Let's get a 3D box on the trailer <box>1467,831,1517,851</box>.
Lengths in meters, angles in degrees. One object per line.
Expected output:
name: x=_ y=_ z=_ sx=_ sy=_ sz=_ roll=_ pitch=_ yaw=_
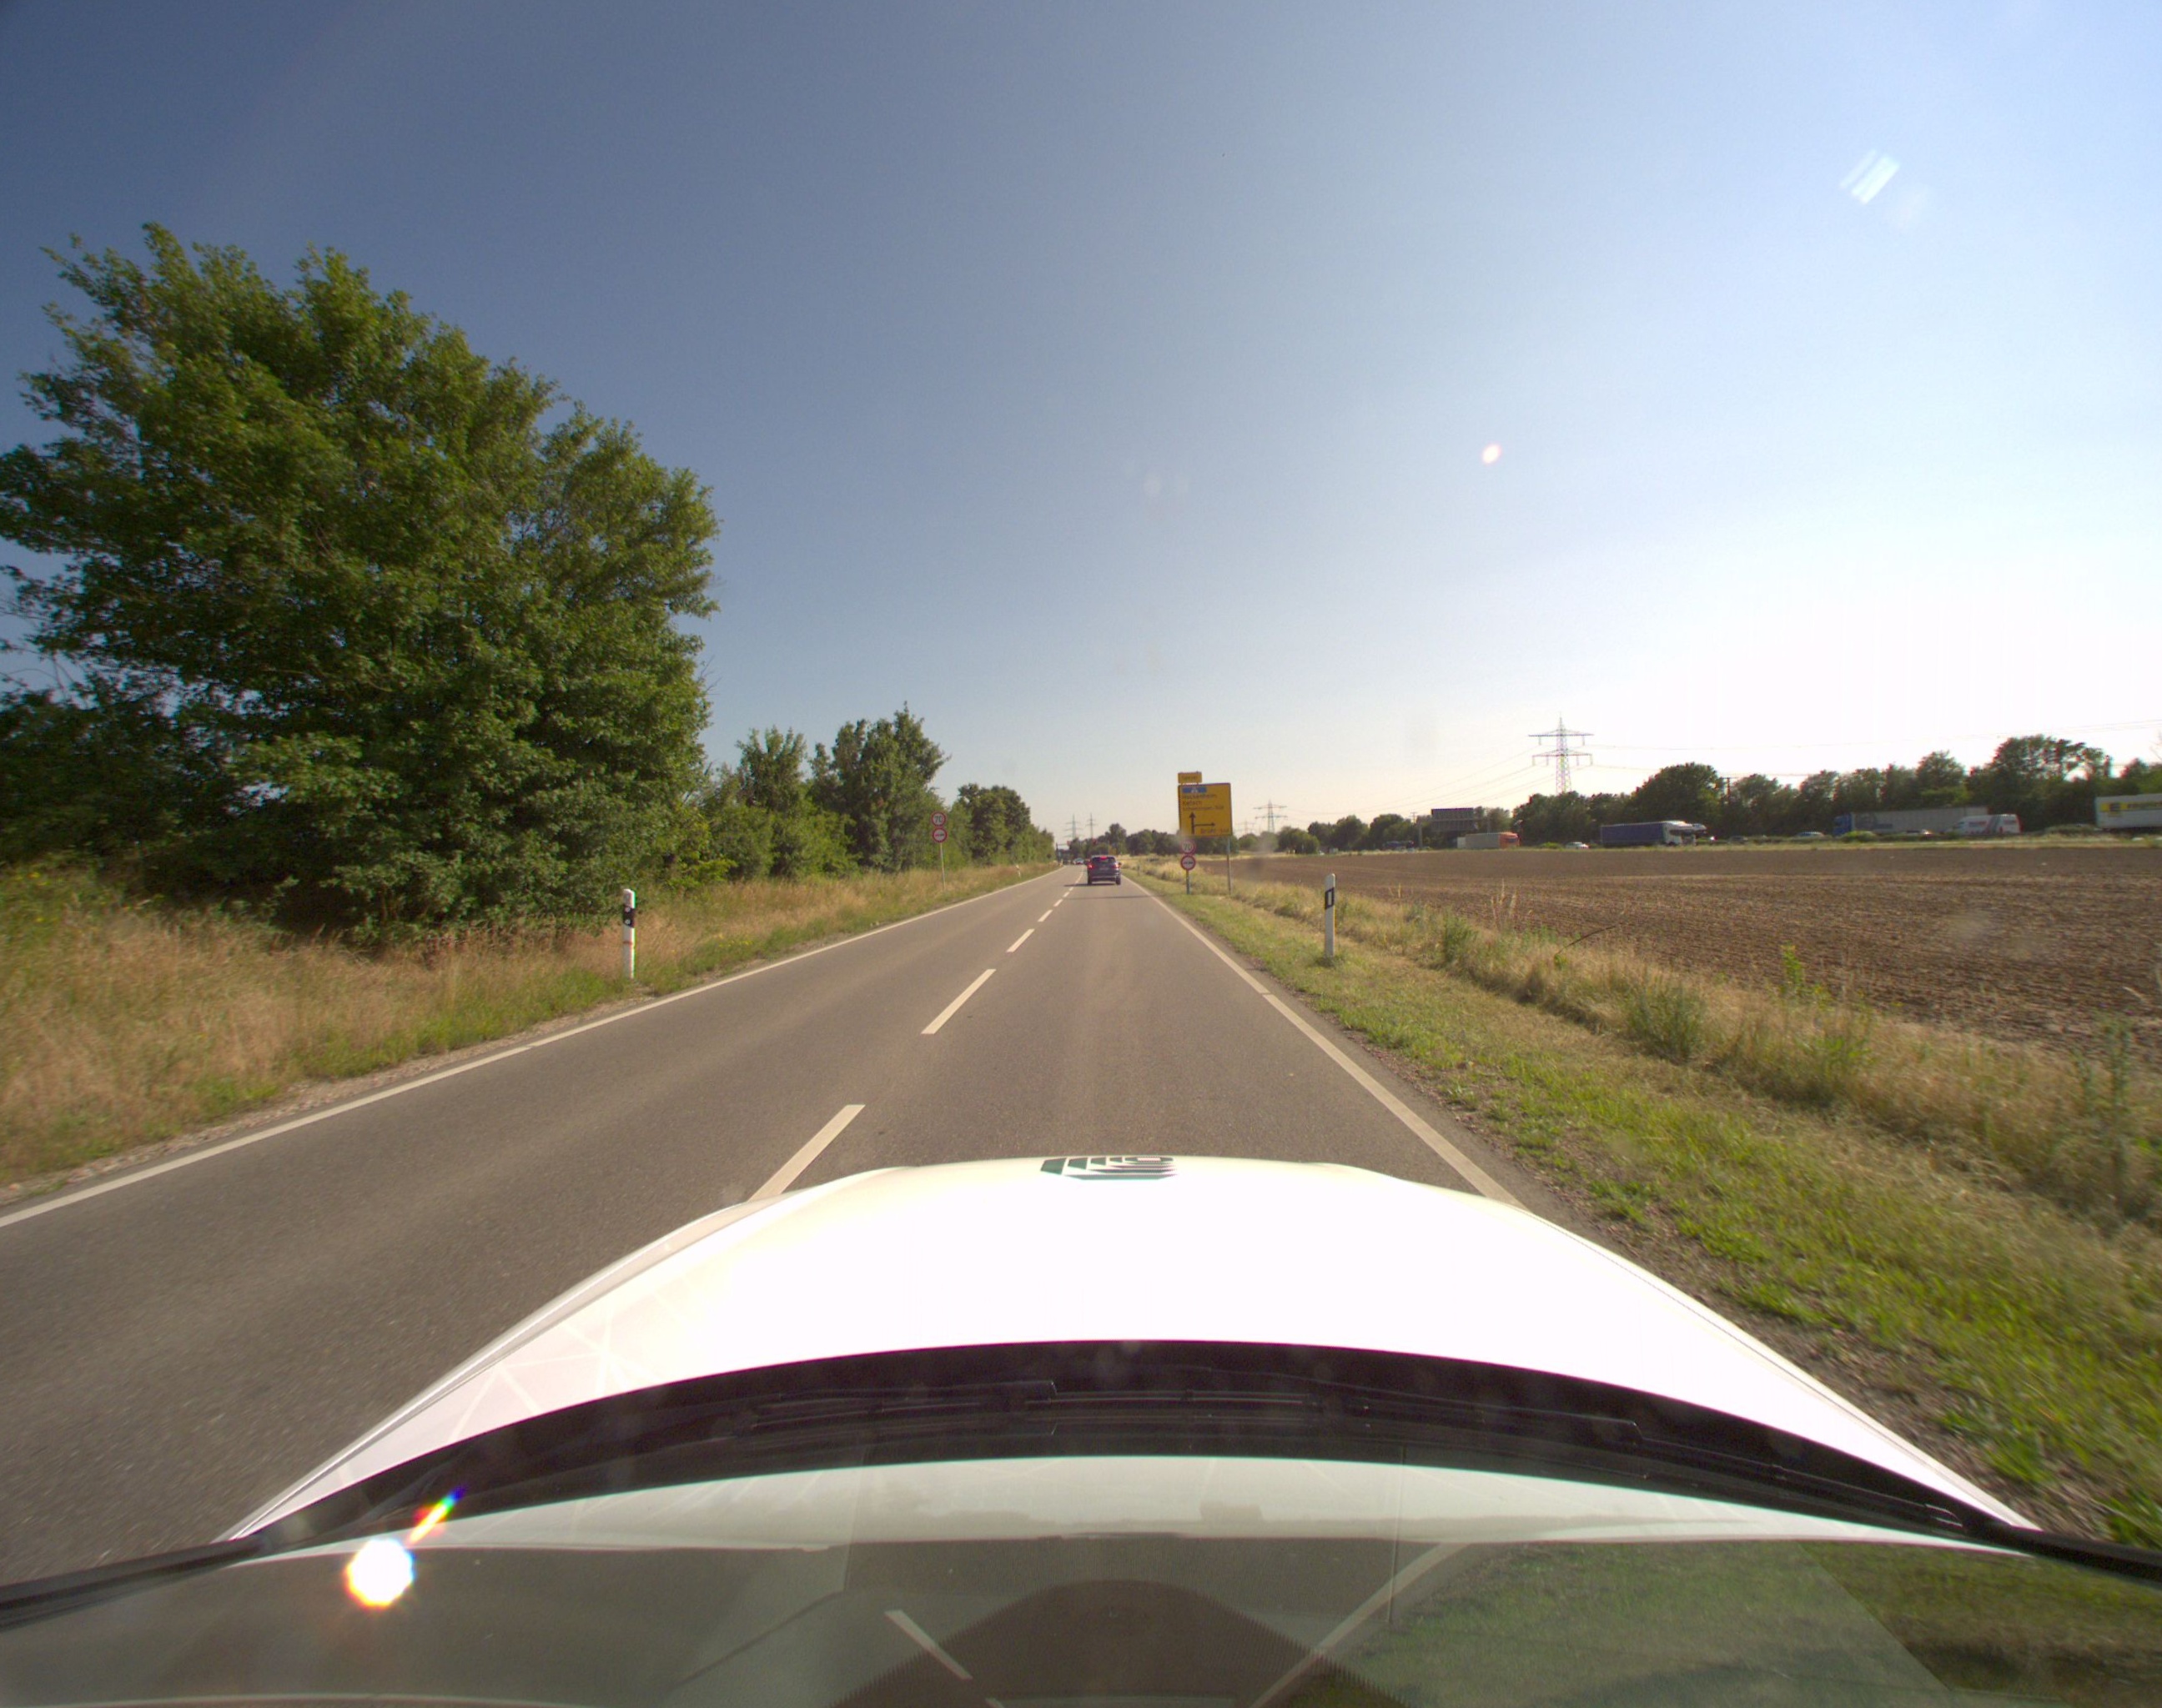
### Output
trailer: x=84.370 y=-2.570 z=167.463 sx=3.094 sy=3.849 sz=13.712 roll=-1 pitch=0 yaw=-1

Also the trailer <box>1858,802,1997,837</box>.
trailer: x=102.439 y=-4.012 z=99.102 sx=3.060 sy=3.733 sz=13.636 roll=-2 pitch=1 yaw=2

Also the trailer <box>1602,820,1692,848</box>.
trailer: x=84.353 y=-2.856 z=121.972 sx=3.063 sy=3.802 sz=14.585 roll=-1 pitch=1 yaw=-1

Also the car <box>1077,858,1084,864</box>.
car: x=-0.199 y=1.921 z=234.205 sx=1.812 sy=1.540 sz=3.995 roll=-2 pitch=0 yaw=-3

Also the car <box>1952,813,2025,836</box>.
car: x=96.425 y=-3.122 z=86.610 sx=1.899 sy=2.200 sz=5.237 roll=-1 pitch=0 yaw=0

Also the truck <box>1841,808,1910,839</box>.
truck: x=102.624 y=-3.924 z=105.352 sx=3.060 sy=3.733 sz=6.089 roll=-2 pitch=0 yaw=2

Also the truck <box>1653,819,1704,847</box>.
truck: x=84.454 y=-2.898 z=115.173 sx=3.063 sy=3.802 sz=5.609 roll=-1 pitch=0 yaw=-1

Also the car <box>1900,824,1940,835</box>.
car: x=96.425 y=-2.831 z=93.648 sx=1.390 sy=1.151 sz=3.181 roll=-1 pitch=0 yaw=0

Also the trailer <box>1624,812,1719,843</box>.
trailer: x=103.009 y=-4.482 z=142.797 sx=3.412 sy=4.452 sz=17.551 roll=-3 pitch=-1 yaw=-2

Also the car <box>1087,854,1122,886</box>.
car: x=1.227 y=0.828 z=44.656 sx=1.780 sy=1.629 sz=3.999 roll=-2 pitch=0 yaw=0

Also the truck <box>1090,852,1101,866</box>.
truck: x=3.186 y=1.165 z=178.875 sx=2.329 sy=3.066 sz=5.810 roll=-1 pitch=-1 yaw=1

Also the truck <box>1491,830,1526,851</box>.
truck: x=84.462 y=-2.600 z=161.104 sx=3.094 sy=3.849 sz=6.947 roll=-1 pitch=0 yaw=-1

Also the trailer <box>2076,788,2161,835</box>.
trailer: x=84.456 y=-3.383 z=63.560 sx=2.784 sy=3.415 sz=8.716 roll=-2 pitch=0 yaw=0
